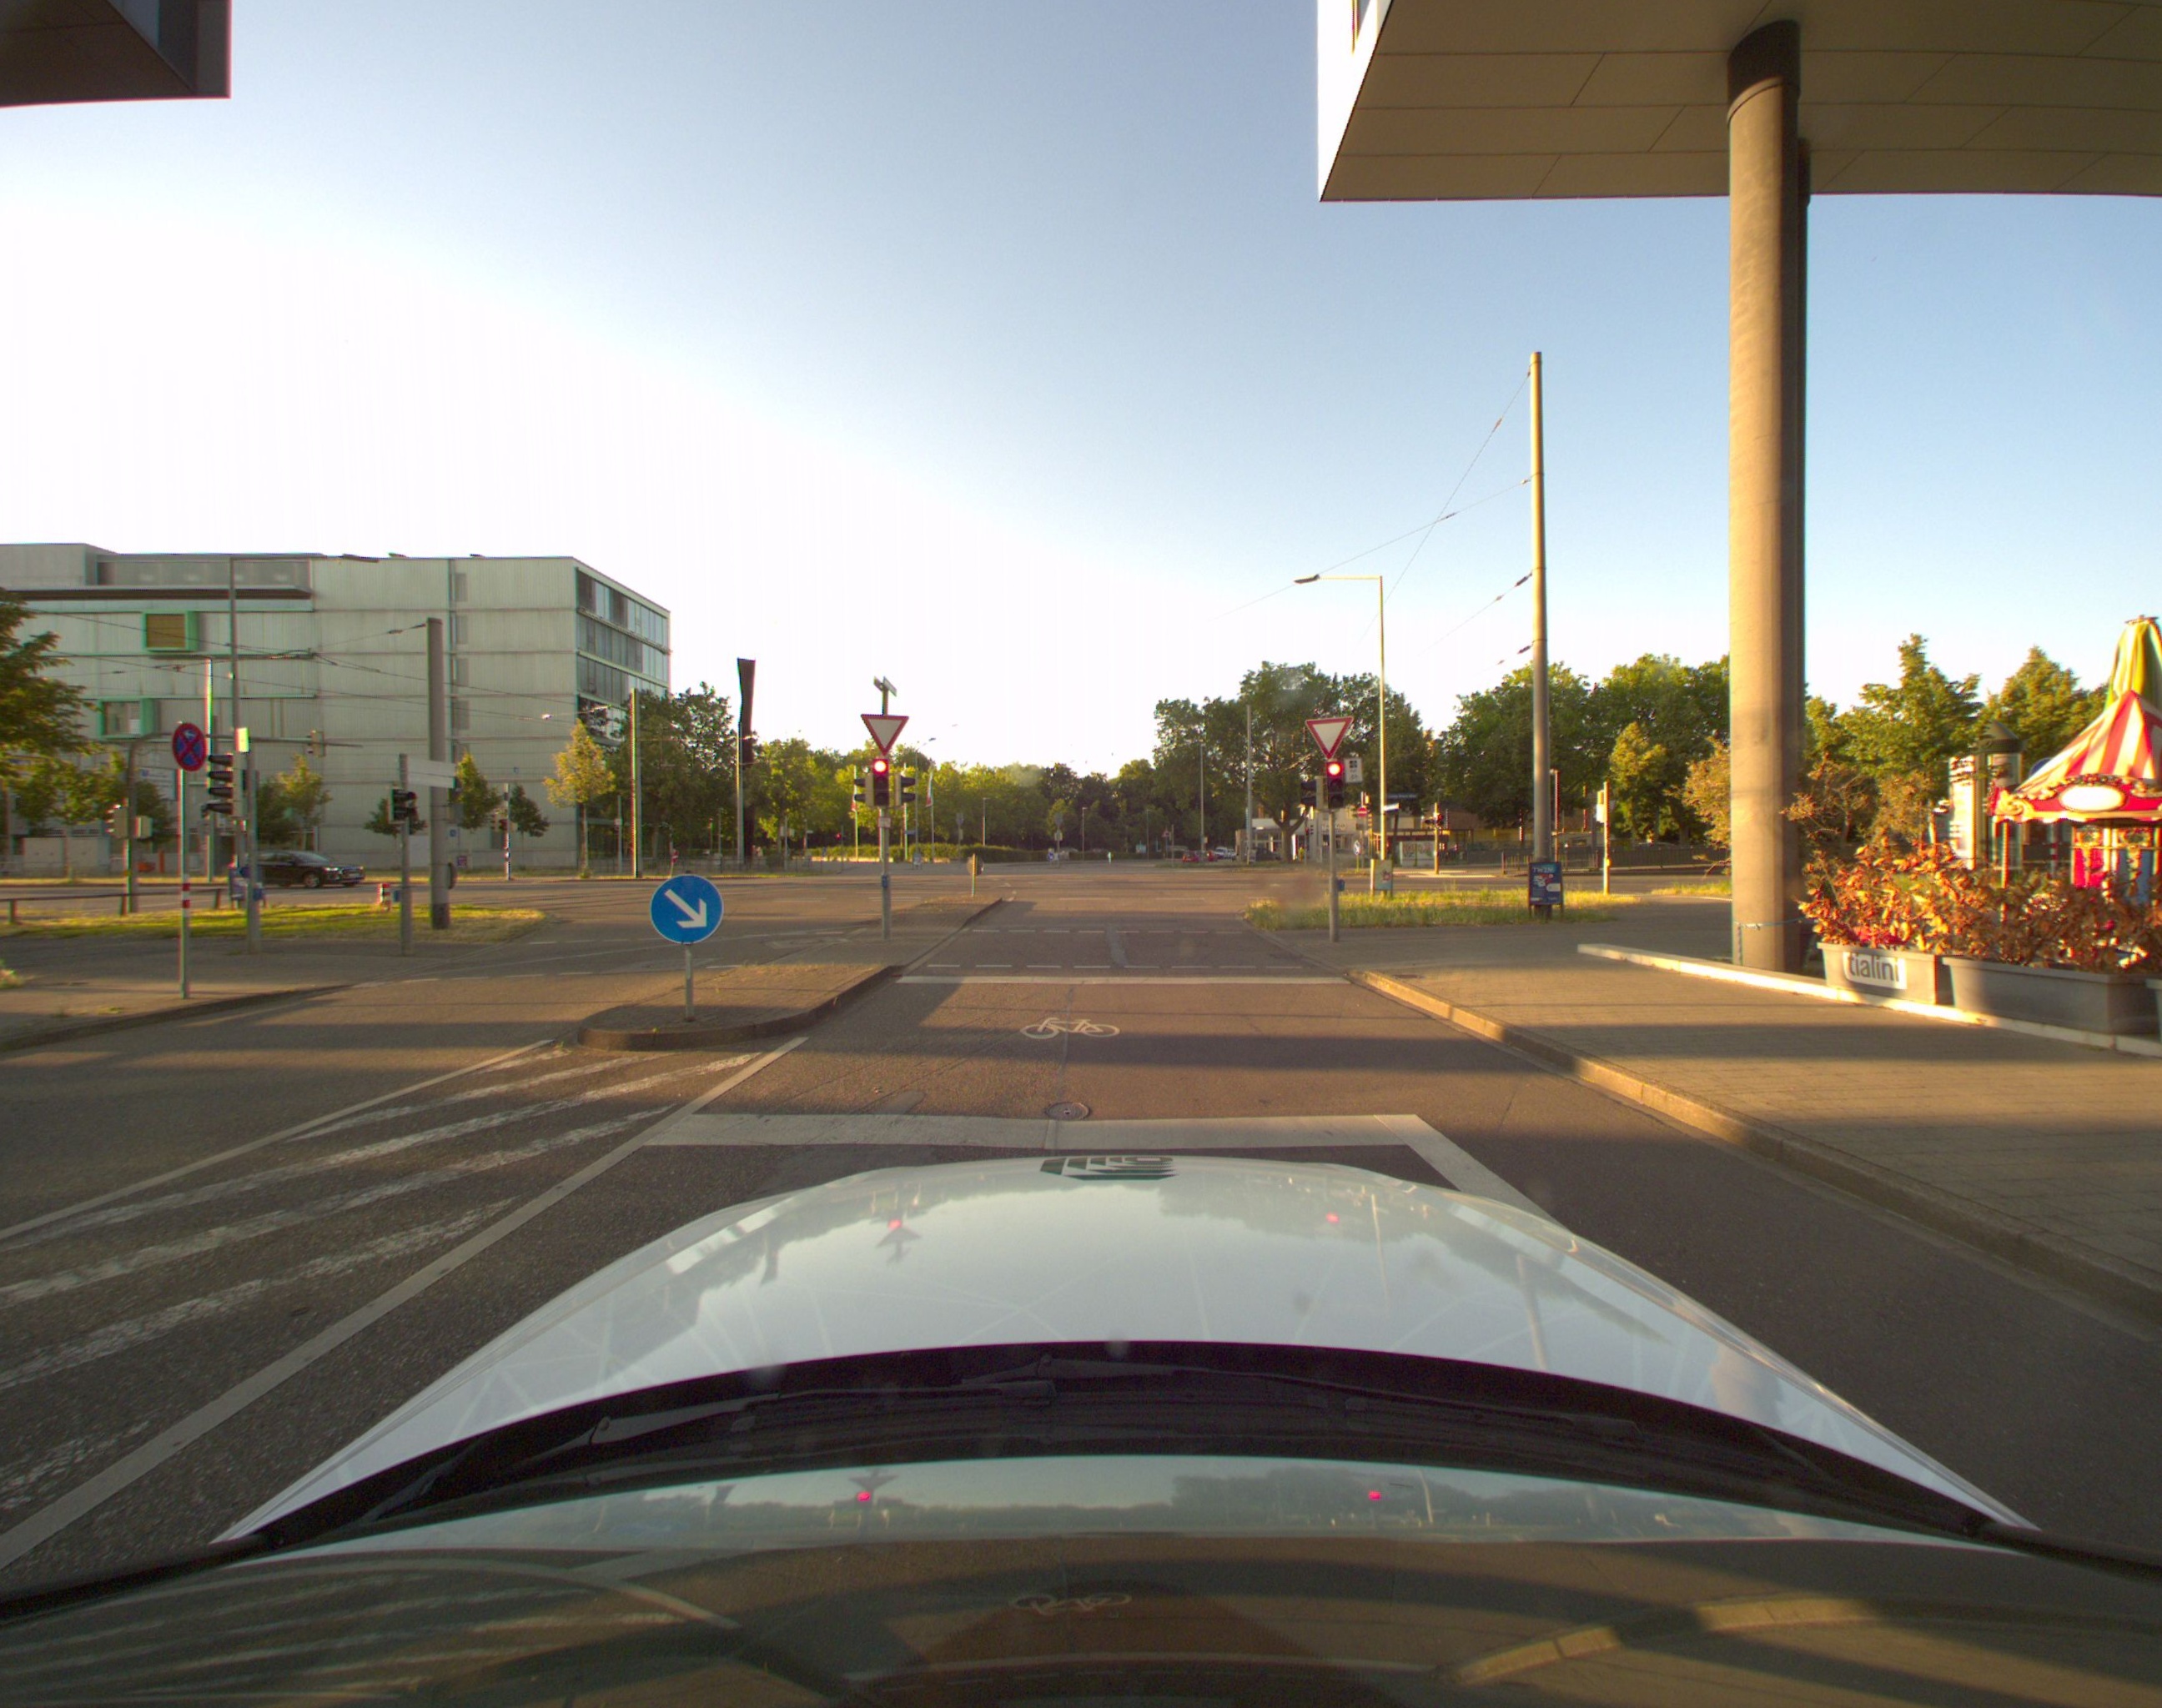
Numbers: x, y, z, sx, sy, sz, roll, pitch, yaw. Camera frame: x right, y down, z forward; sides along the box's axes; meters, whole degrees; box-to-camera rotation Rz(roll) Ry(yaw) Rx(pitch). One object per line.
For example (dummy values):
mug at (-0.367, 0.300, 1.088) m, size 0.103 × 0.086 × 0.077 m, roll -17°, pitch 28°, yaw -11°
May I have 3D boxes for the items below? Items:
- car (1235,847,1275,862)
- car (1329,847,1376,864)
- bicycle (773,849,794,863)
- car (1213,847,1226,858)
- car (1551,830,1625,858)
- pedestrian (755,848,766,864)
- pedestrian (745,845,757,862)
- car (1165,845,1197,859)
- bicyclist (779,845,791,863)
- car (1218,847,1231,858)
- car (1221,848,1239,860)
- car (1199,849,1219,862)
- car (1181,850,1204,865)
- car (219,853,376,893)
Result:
car at (18.926, 0.025, 88.904) m, size 4.194 × 1.552 × 2.005 m, roll -1°, pitch -1°, yaw 9°
car at (23.936, 0.176, 71.870) m, size 3.715 × 1.440 × 1.669 m, roll -1°, pitch -1°, yaw 11°
bicycle at (-28.567, 0.187, 78.128) m, size 2.657 × 1.341 × 0.736 m, roll -1°, pitch 0°, yaw 44°
car at (22.273, -0.234, 130.884) m, size 1.850 × 1.794 × 4.013 m, roll -1°, pitch -1°, yaw 12°
car at (47.919, -0.928, 77.045) m, size 5.561 × 2.551 × 2.235 m, roll -1°, pitch 0°, yaw 9°
pedestrian at (-35.331, 0.250, 89.733) m, size 0.852 × 1.744 × 0.835 m, roll -1°, pitch 0°, yaw 36°
pedestrian at (-36.101, -0.057, 89.115) m, size 0.852 × 1.744 × 0.835 m, roll -1°, pitch 0°, yaw 31°
car at (15.419, -0.316, 125.733) m, size 4.753 × 2.006 × 2.002 m, roll -1°, pitch -1°, yaw 3°
bicyclist at (-28.296, -0.009, 77.861) m, size 0.908 × 1.709 × 0.758 m, roll -1°, pitch 0°, yaw 43°
car at (23.936, -0.240, 135.741) m, size 1.849 × 1.794 × 4.015 m, roll -1°, pitch -1°, yaw 14°
car at (21.091, 0.013, 115.304) m, size 1.978 × 1.662 × 4.018 m, roll -1°, pitch -1°, yaw 17°
car at (16.210, 0.228, 103.183) m, size 1.978 × 1.662 × 4.018 m, roll -1°, pitch -1°, yaw 17°
car at (13.107, 0.390, 95.563) m, size 1.978 × 1.662 × 4.018 m, roll -1°, pitch -1°, yaw 17°
car at (-32.505, 0.747, 33.900) m, size 4.467 × 1.557 × 1.986 m, roll -1°, pitch 0°, yaw -4°
